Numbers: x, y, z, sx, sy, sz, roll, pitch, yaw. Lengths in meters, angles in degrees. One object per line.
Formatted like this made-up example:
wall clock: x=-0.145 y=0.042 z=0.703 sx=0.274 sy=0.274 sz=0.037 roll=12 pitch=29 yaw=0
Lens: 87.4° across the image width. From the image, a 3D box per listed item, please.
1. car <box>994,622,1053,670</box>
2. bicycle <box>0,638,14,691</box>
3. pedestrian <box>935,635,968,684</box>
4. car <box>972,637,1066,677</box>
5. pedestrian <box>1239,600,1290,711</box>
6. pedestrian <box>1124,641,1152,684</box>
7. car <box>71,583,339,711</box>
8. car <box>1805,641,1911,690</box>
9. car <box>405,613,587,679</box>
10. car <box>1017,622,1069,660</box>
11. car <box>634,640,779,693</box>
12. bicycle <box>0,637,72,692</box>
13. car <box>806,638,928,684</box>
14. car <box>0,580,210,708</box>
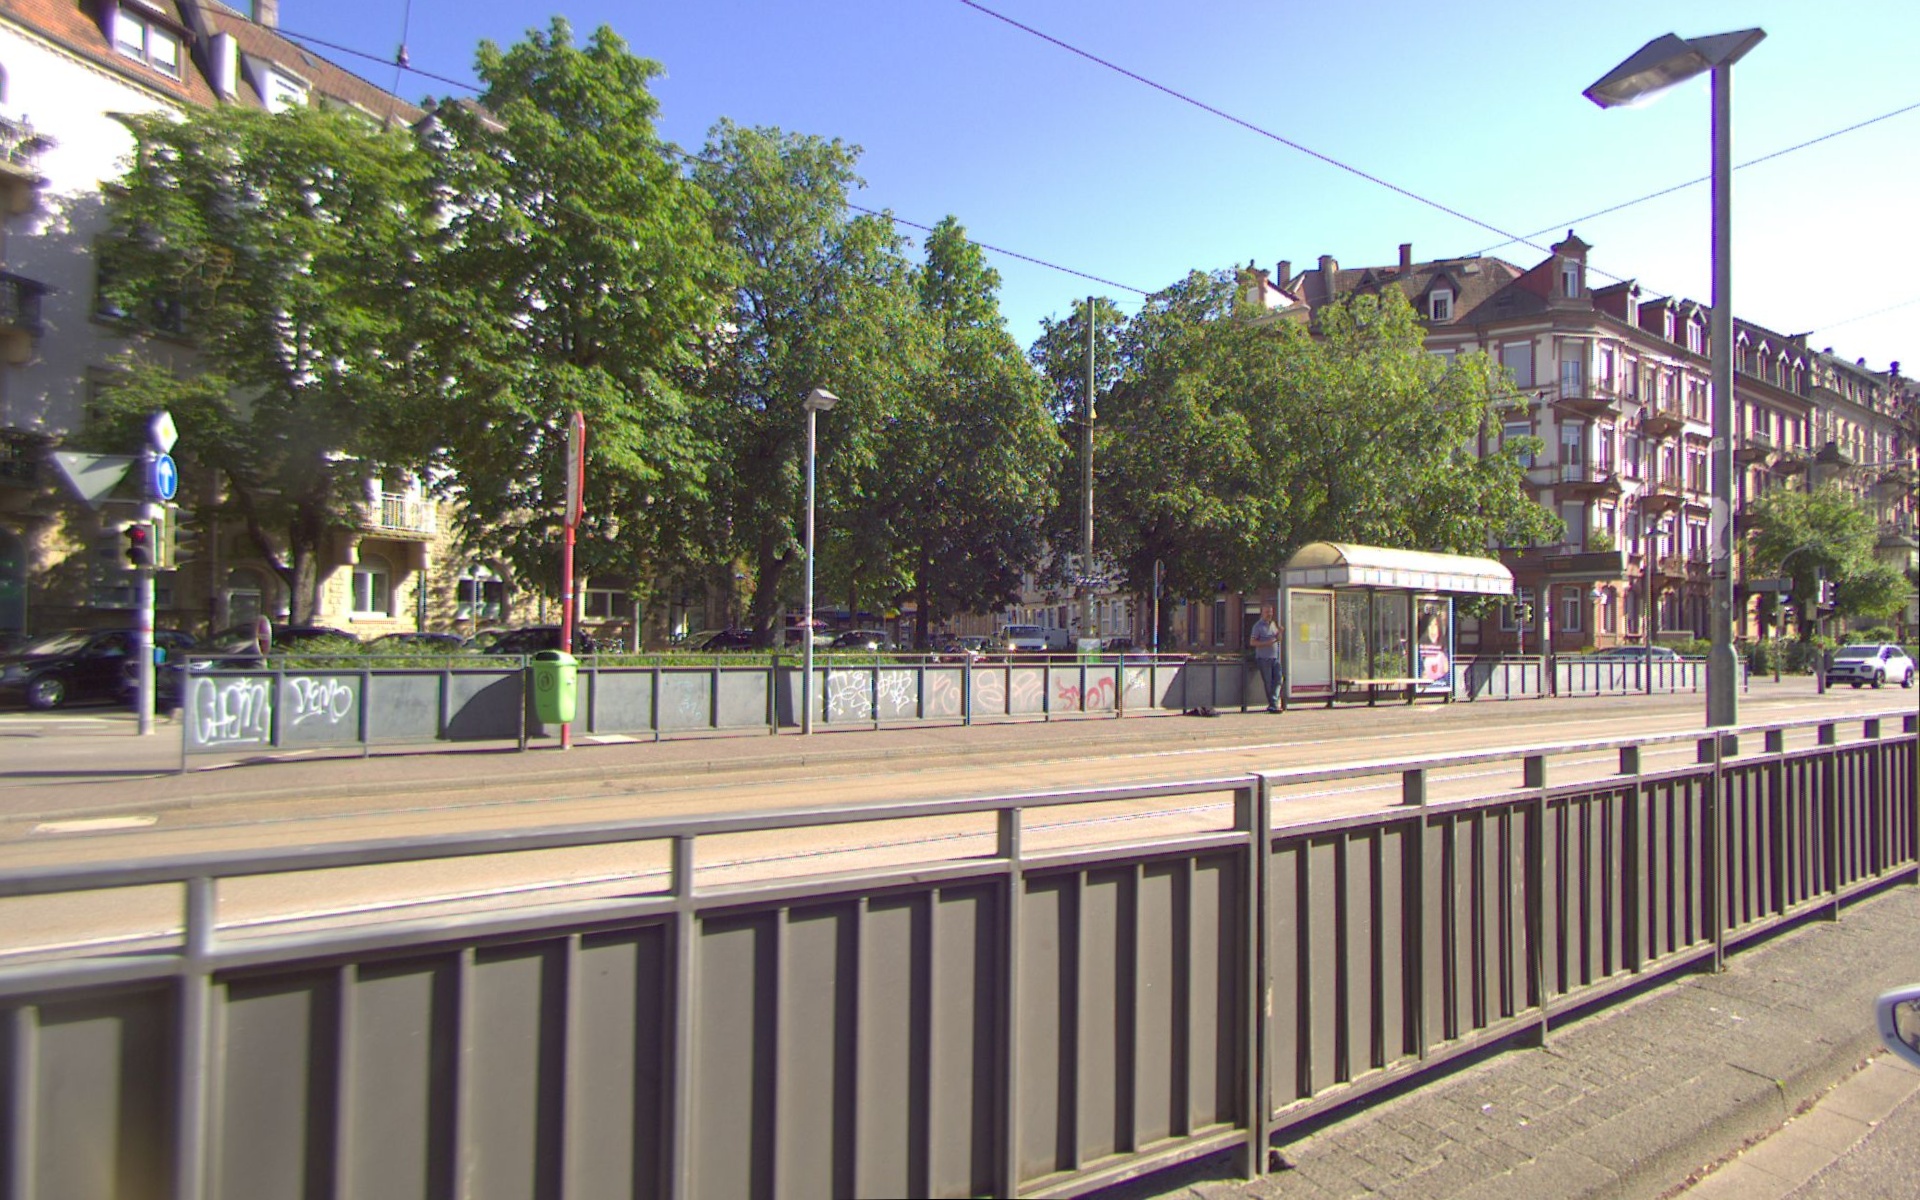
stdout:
car: x=2.913 y=2.101 z=47.124 sx=1.962 sy=2.040 sz=4.585 roll=2 pitch=-1 yaw=-6
bicycle: x=-19.083 y=1.187 z=18.930 sx=1.997 sy=0.993 sz=0.611 roll=2 pitch=-1 yaw=6
pedestrian: x=-0.216 y=1.488 z=25.366 sx=0.599 sy=1.217 sz=0.577 roll=-1 pitch=-3 yaw=40
car: x=2.413 y=2.237 z=40.148 sx=1.728 sy=1.450 sz=3.980 roll=-1 pitch=-2 yaw=41
pedestrian: x=5.132 y=0.924 z=16.941 sx=0.573 sy=1.818 sz=0.602 roll=2 pitch=-2 yaw=-35
pedestrian: x=5.121 y=1.799 z=28.859 sx=0.599 sy=1.217 sz=0.577 roll=-1 pitch=-3 yaw=40
car: x=-13.664 y=0.827 z=18.538 sx=1.961 sy=2.040 sz=3.999 roll=2 pitch=-1 yaw=-3
car: x=32.871 y=2.389 z=36.740 sx=3.954 sy=1.639 sz=1.767 roll=3 pitch=-2 yaw=-30
car: x=-11.128 y=1.082 z=24.405 sx=1.719 sy=1.450 sz=4.000 roll=0 pitch=-2 yaw=20
car: x=4.739 y=2.333 z=58.203 sx=1.963 sy=2.040 sz=5.024 roll=2 pitch=-1 yaw=-7
car: x=-7.606 y=1.952 z=30.370 sx=1.730 sy=1.450 sz=3.976 roll=-1 pitch=-2 yaw=44
bicycle: x=-18.643 y=1.241 z=19.690 sx=1.997 sy=0.993 sz=0.611 roll=2 pitch=-1 yaw=6
car: x=-3.139 y=2.046 z=34.380 sx=3.971 sy=1.450 sz=1.732 roll=2 pitch=-2 yaw=-42
car: x=-16.009 y=0.723 z=18.148 sx=1.961 sy=2.040 sz=3.999 roll=2 pitch=-1 yaw=-3
